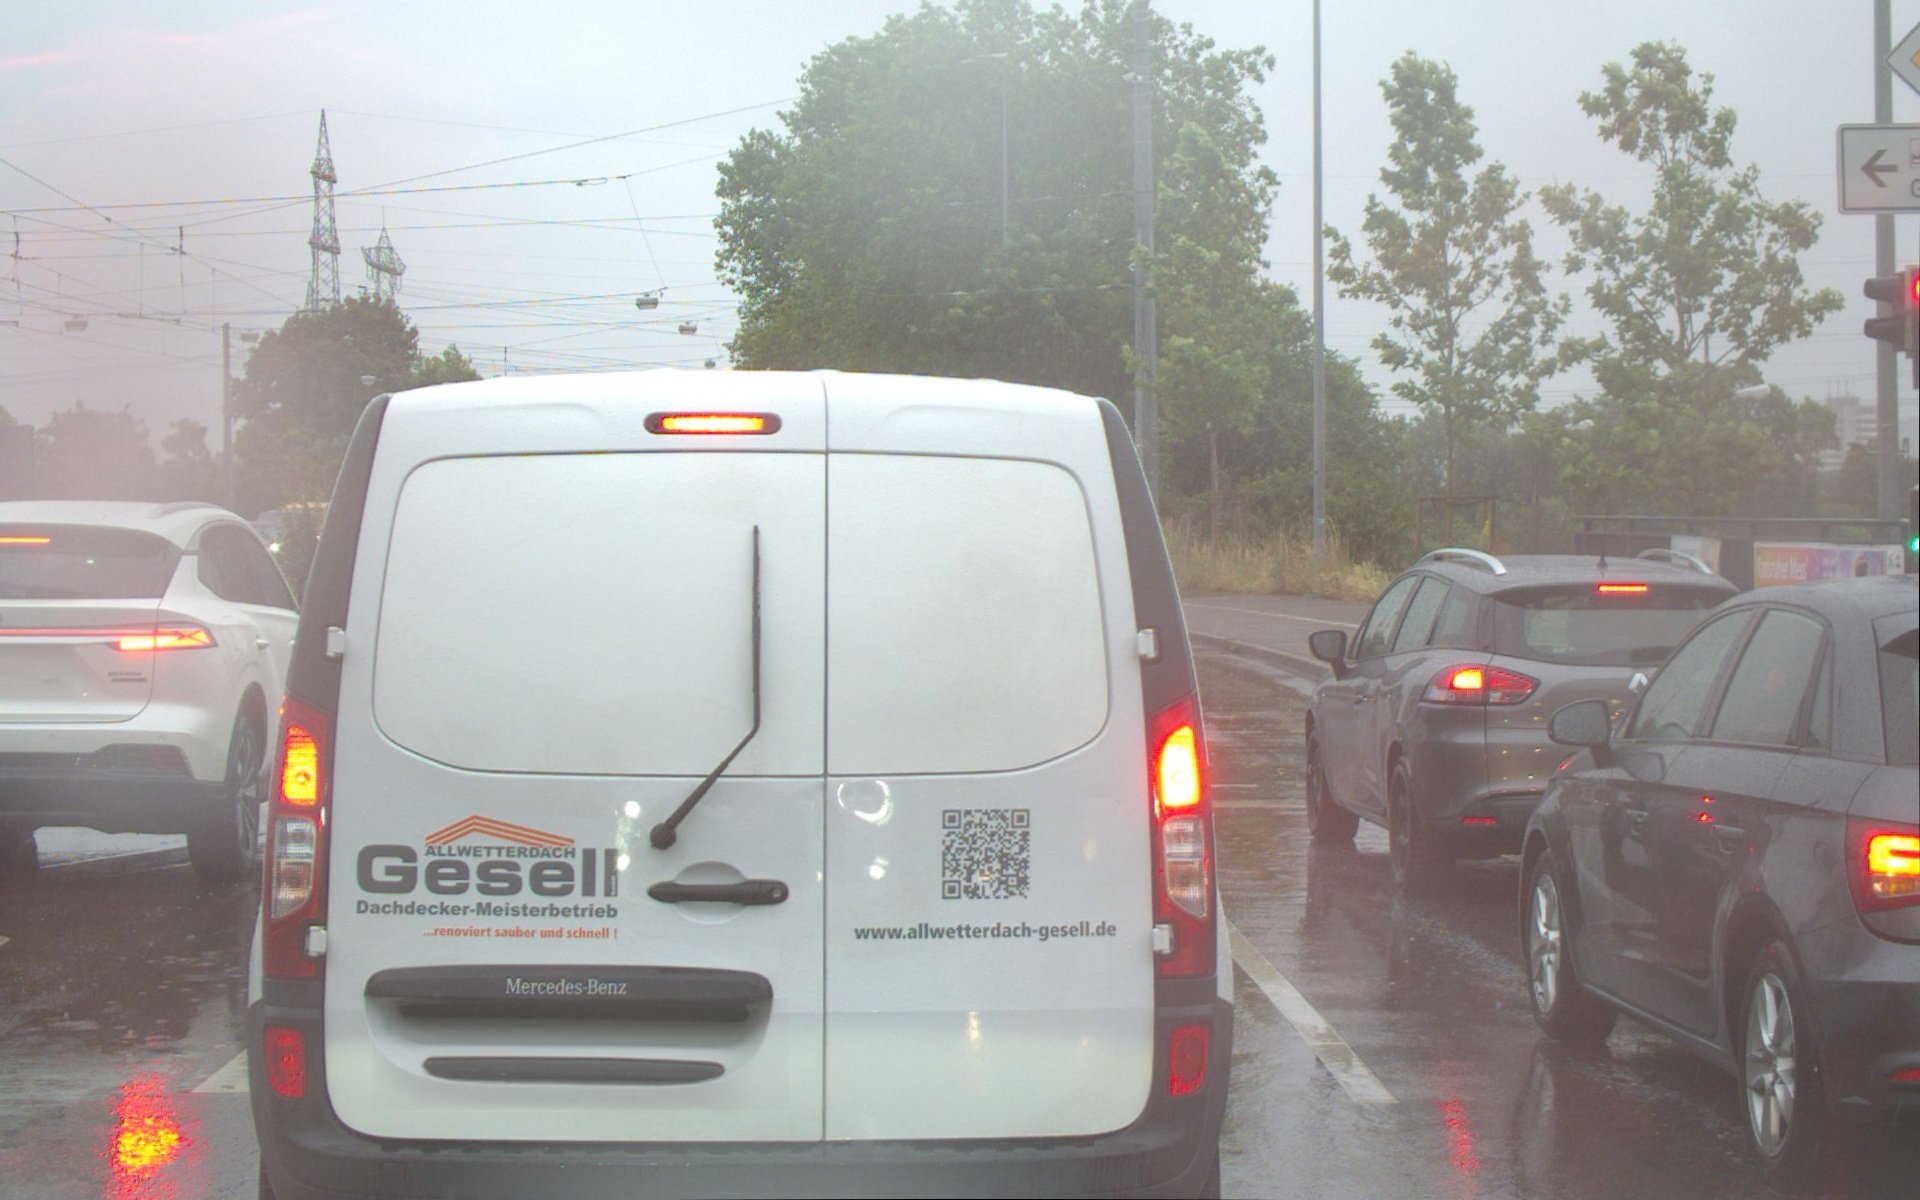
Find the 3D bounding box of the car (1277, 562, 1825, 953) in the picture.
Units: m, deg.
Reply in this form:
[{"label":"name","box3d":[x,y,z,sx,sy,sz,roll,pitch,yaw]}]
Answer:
[{"label":"car","box3d":[2.519,0.603,15.553,1.684,1.503,3.921,1,1,-1]}]

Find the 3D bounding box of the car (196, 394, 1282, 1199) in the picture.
[{"label":"car","box3d":[-0.503,0.483,7.683,1.754,1.744,4.170,1,2,-4]}]

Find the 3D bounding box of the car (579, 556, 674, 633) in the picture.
[{"label":"car","box3d":[-7.108,-0.136,73.556,1.634,1.517,3.775,3,0,-1]}]

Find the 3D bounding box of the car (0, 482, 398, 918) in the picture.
[{"label":"car","box3d":[-4.020,0.366,16.413,1.930,1.769,4.664,1,1,-1]}]

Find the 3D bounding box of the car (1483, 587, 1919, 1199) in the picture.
[{"label":"car","box3d":[2.526,0.652,8.956,1.597,1.362,3.631,-1,0,-3]}]

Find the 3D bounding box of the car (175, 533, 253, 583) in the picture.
[{"label":"car","box3d":[-22.422,-1.254,103.383,1.559,1.421,3.569,2,0,-1]}]

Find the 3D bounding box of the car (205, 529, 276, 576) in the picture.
[{"label":"car","box3d":[-23.241,-1.529,111.154,1.559,1.421,3.569,2,0,-1]}]

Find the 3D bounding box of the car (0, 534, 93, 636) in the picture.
[{"label":"car","box3d":[-12.364,-0.216,41.346,1.439,1.203,3.527,2,0,42]}]

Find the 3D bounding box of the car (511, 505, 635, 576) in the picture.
[{"label":"car","box3d":[-6.516,-0.997,58.200,1.492,1.082,3.536,2,0,3]}]
